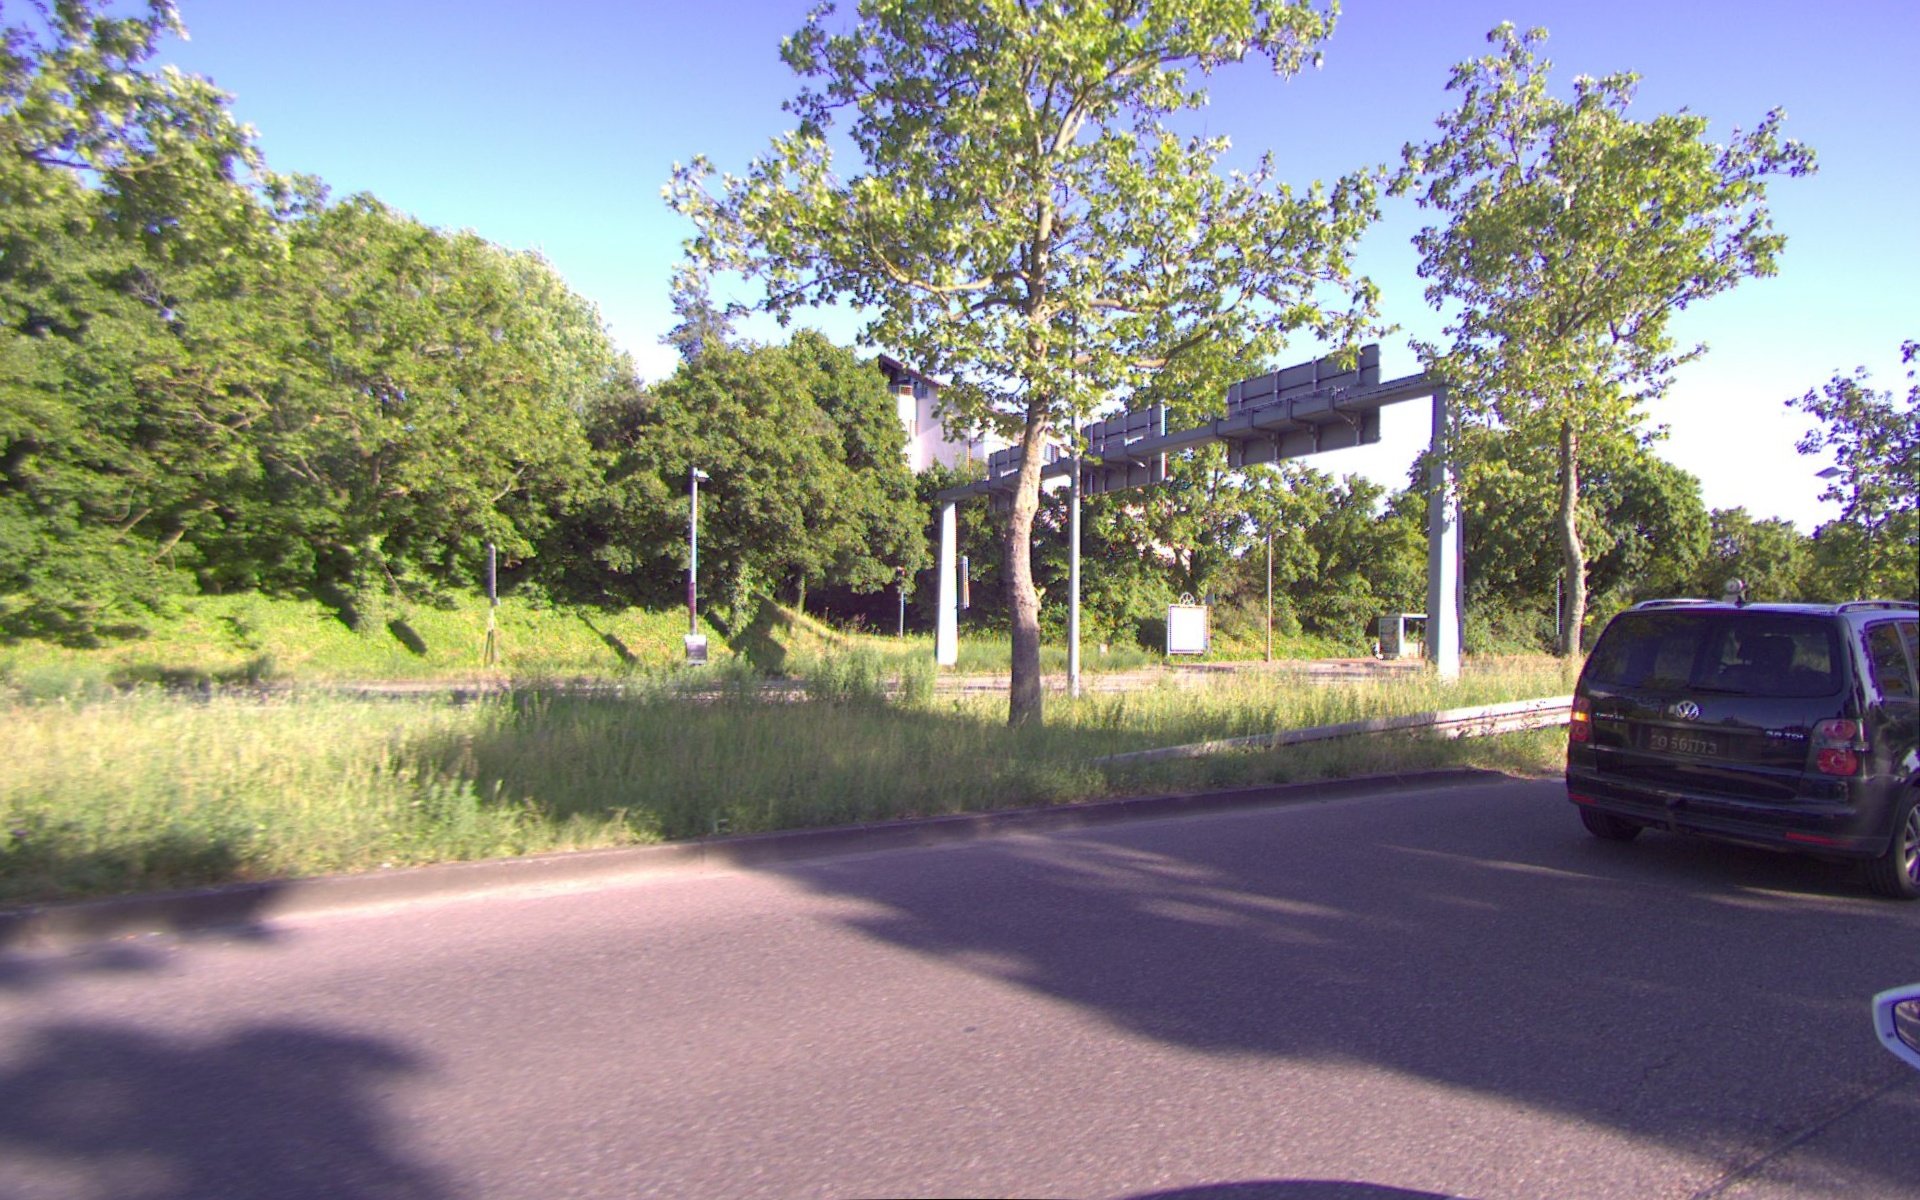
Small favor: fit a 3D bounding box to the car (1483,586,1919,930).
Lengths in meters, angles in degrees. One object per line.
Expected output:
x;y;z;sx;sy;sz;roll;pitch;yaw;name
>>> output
5.894;0.829;6.853;4.865;1.666;1.759;2;0;-30;car
